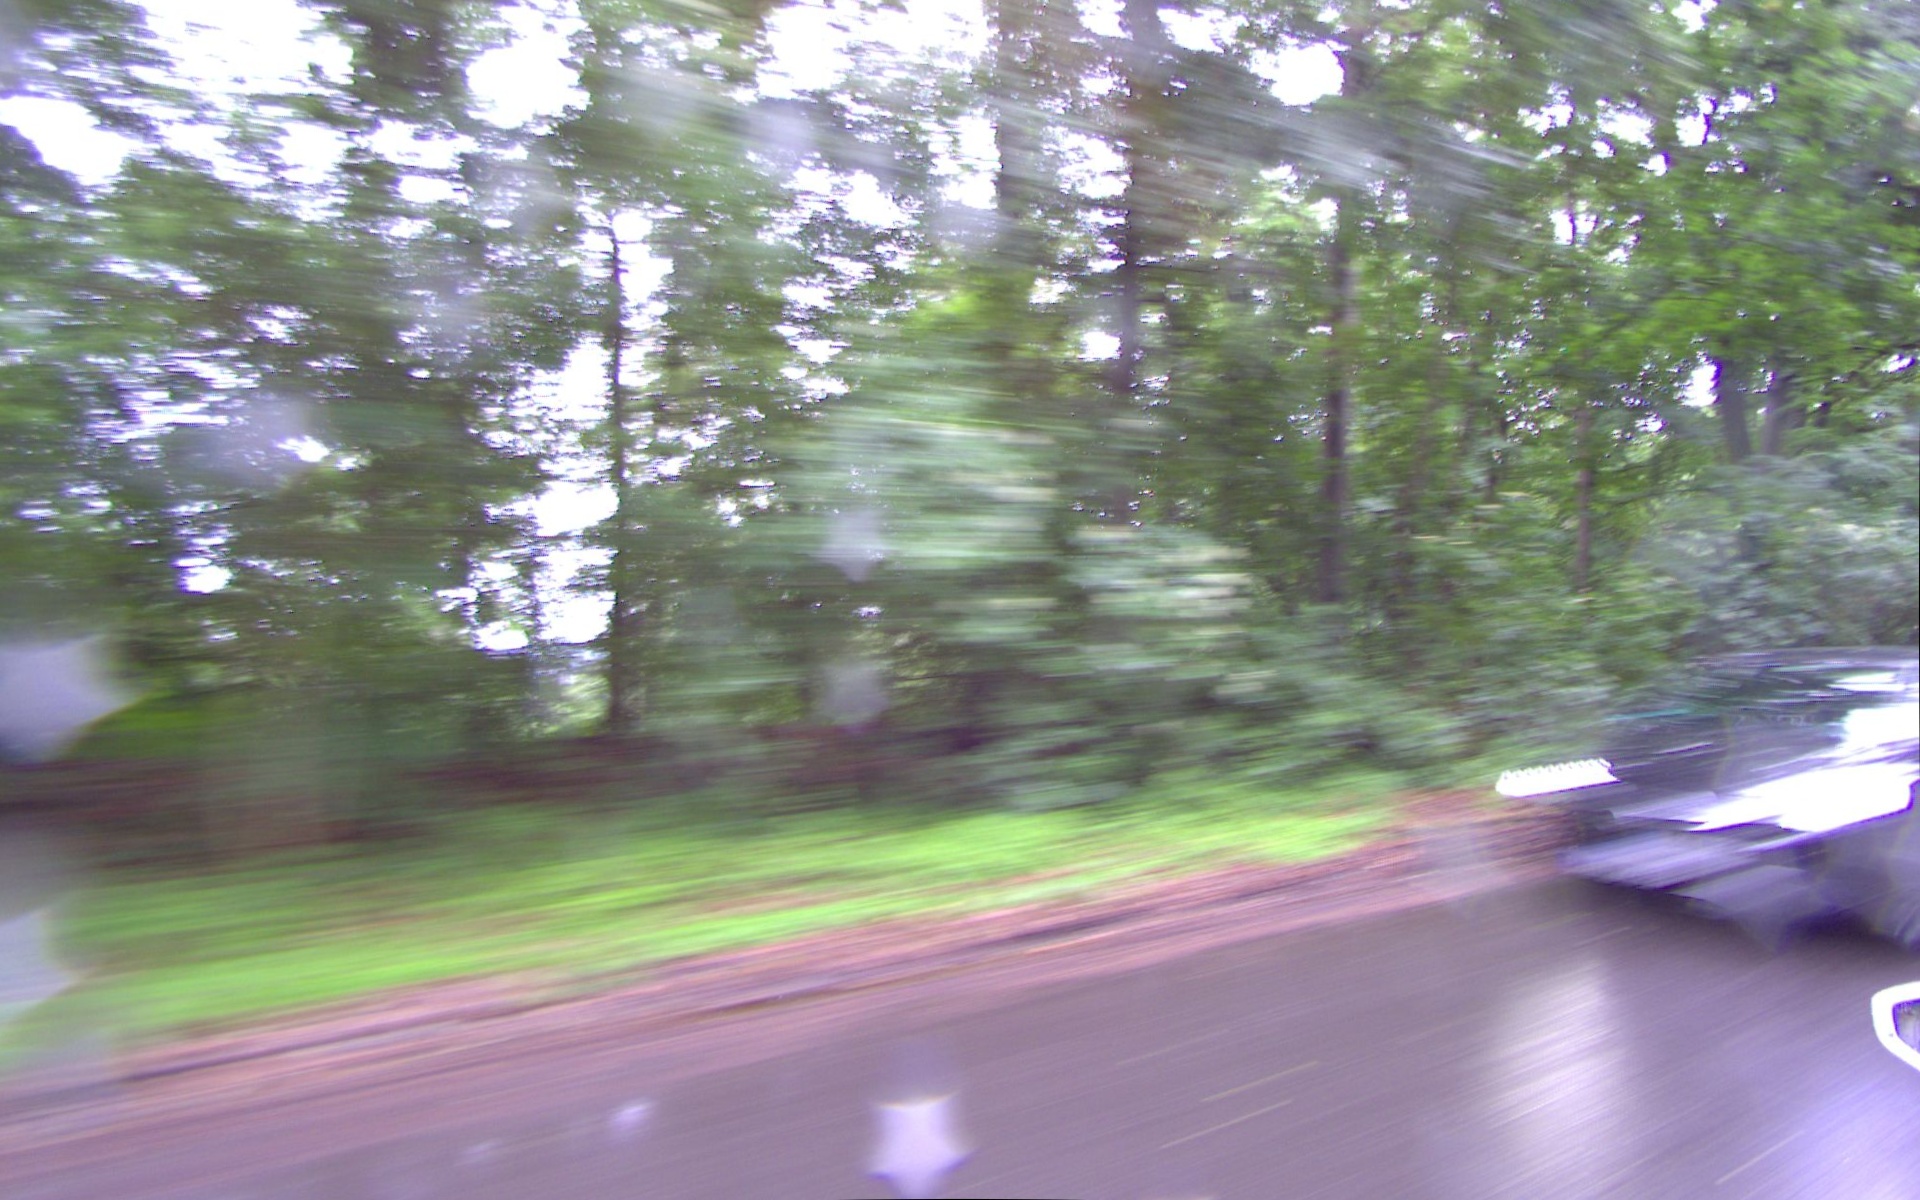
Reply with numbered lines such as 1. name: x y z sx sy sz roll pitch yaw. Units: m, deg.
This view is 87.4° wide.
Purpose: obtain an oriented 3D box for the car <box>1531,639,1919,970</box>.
1. car: 5.557 1.024 6.307 3.845 1.494 1.706 1 -4 -30
